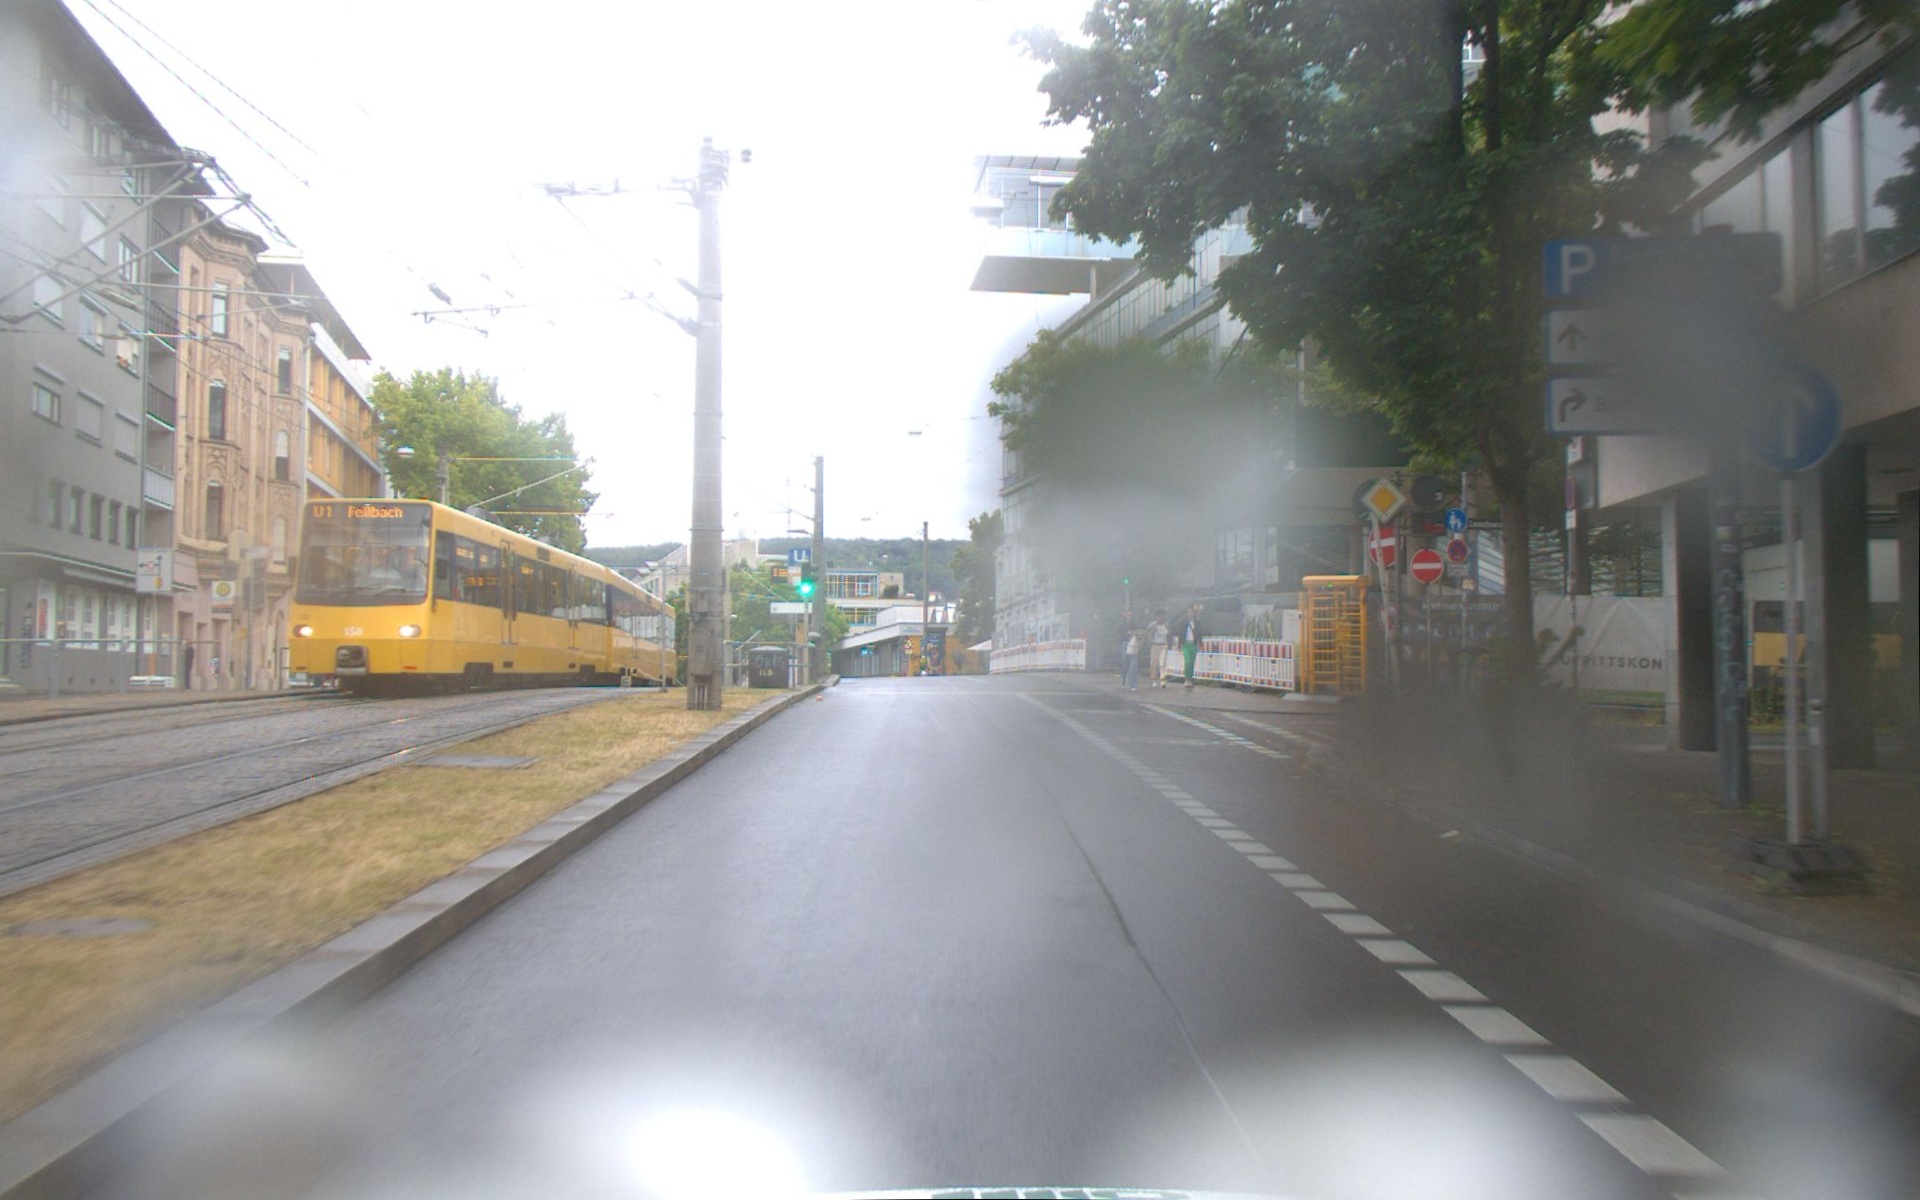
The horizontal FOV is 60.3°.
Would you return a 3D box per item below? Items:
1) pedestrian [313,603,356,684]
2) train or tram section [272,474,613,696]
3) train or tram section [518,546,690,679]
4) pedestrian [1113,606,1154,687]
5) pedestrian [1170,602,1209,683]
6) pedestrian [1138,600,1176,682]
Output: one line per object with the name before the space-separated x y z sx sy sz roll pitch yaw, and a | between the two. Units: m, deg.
pedestrian | -14.204 0.973 37.552 0.717 1.822 0.696 -1 0 -3
train or tram section | -10.789 0.049 37.639 2.691 3.762 18.956 0 -2 -3
train or tram section | -11.667 0.660 56.574 2.691 3.762 18.956 0 -2 -3
pedestrian | 3.810 1.008 36.417 0.722 1.760 1.117 0 -1 -5
pedestrian | 5.203 0.952 37.552 0.686 1.816 1.066 0 -1 -5
pedestrian | 4.460 0.919 37.524 0.686 1.847 0.976 0 -1 -5
